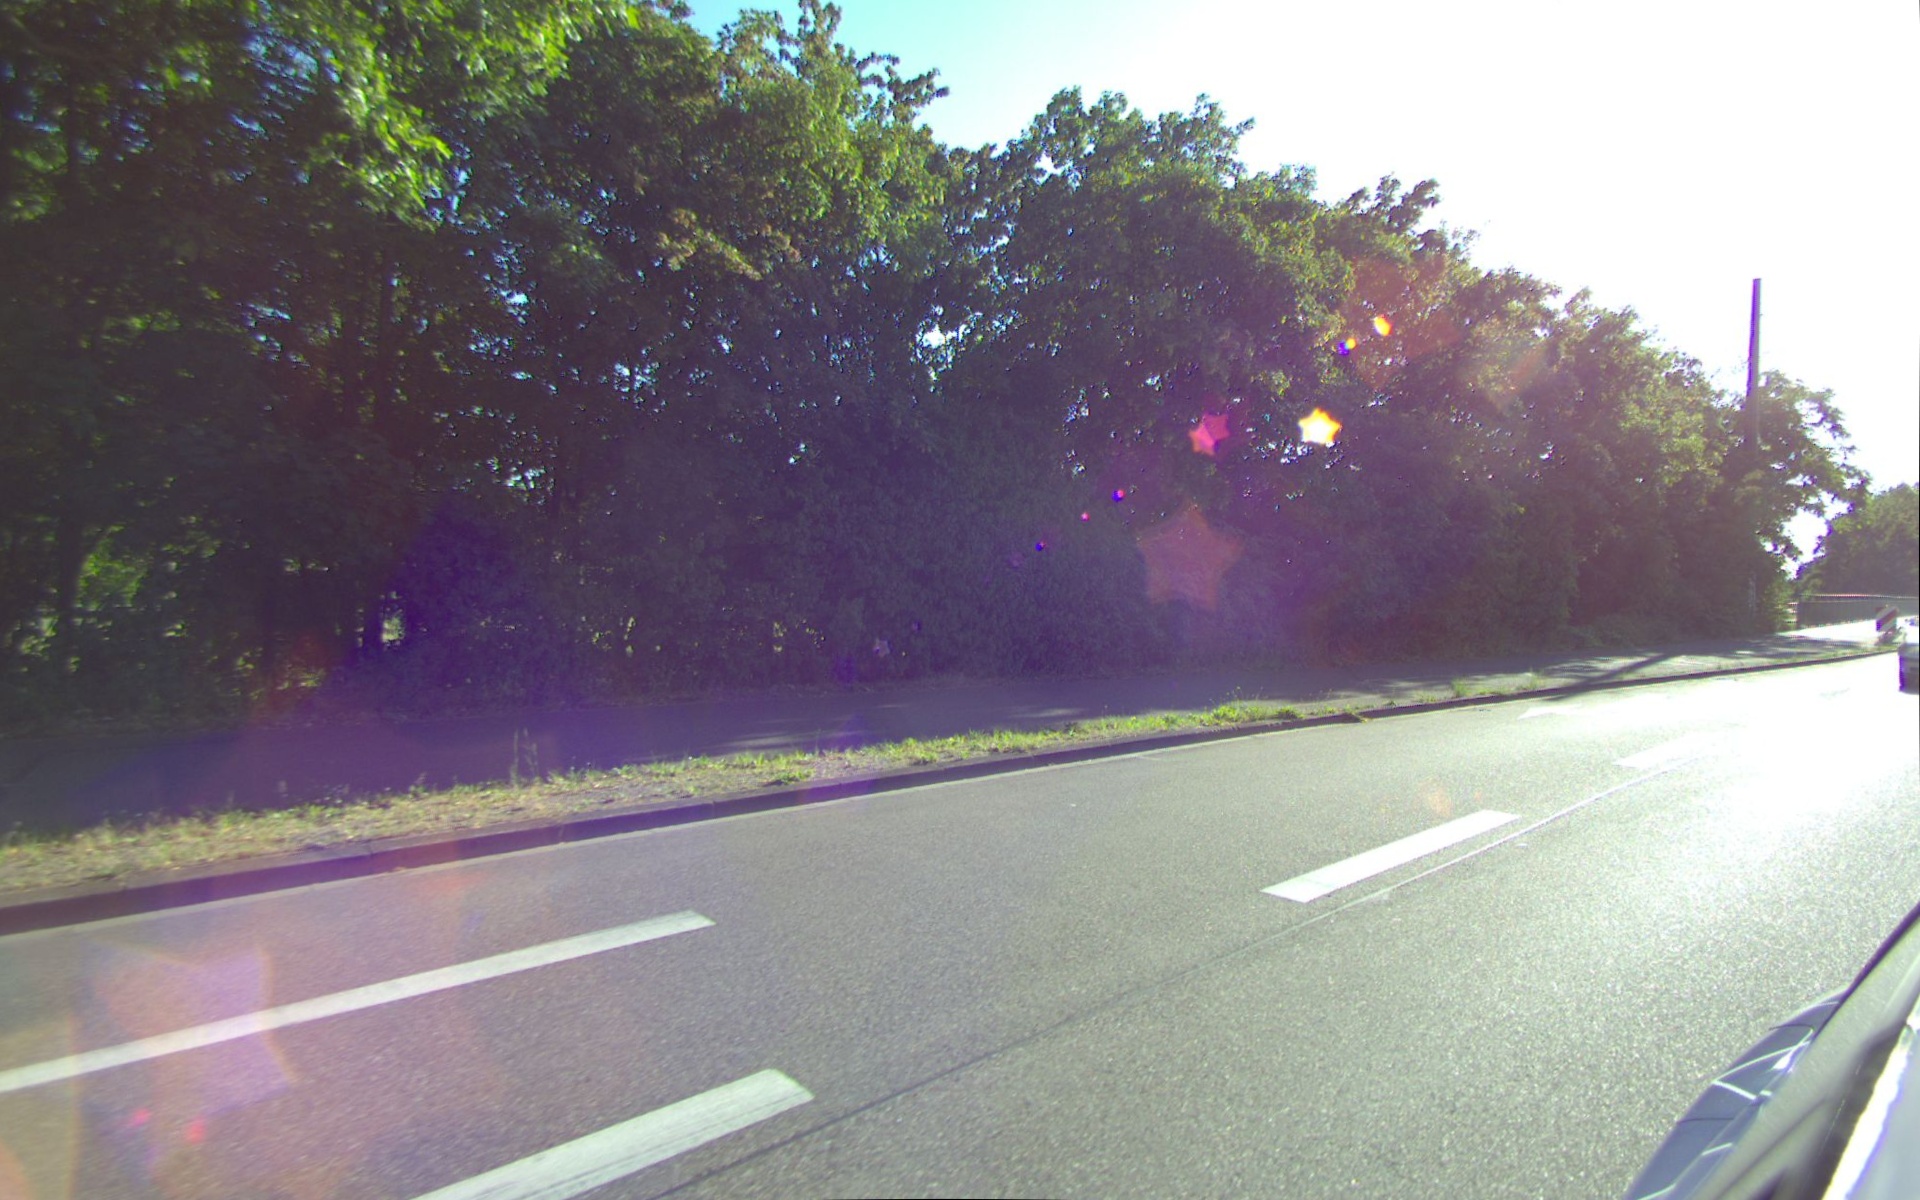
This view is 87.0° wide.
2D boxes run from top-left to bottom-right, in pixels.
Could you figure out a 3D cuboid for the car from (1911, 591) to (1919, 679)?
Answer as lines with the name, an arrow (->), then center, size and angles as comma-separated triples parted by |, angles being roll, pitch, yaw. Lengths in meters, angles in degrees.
car -> 17.793, 0.562, 17.441 | 4.063, 1.435, 1.692 | -1, 1, -41
